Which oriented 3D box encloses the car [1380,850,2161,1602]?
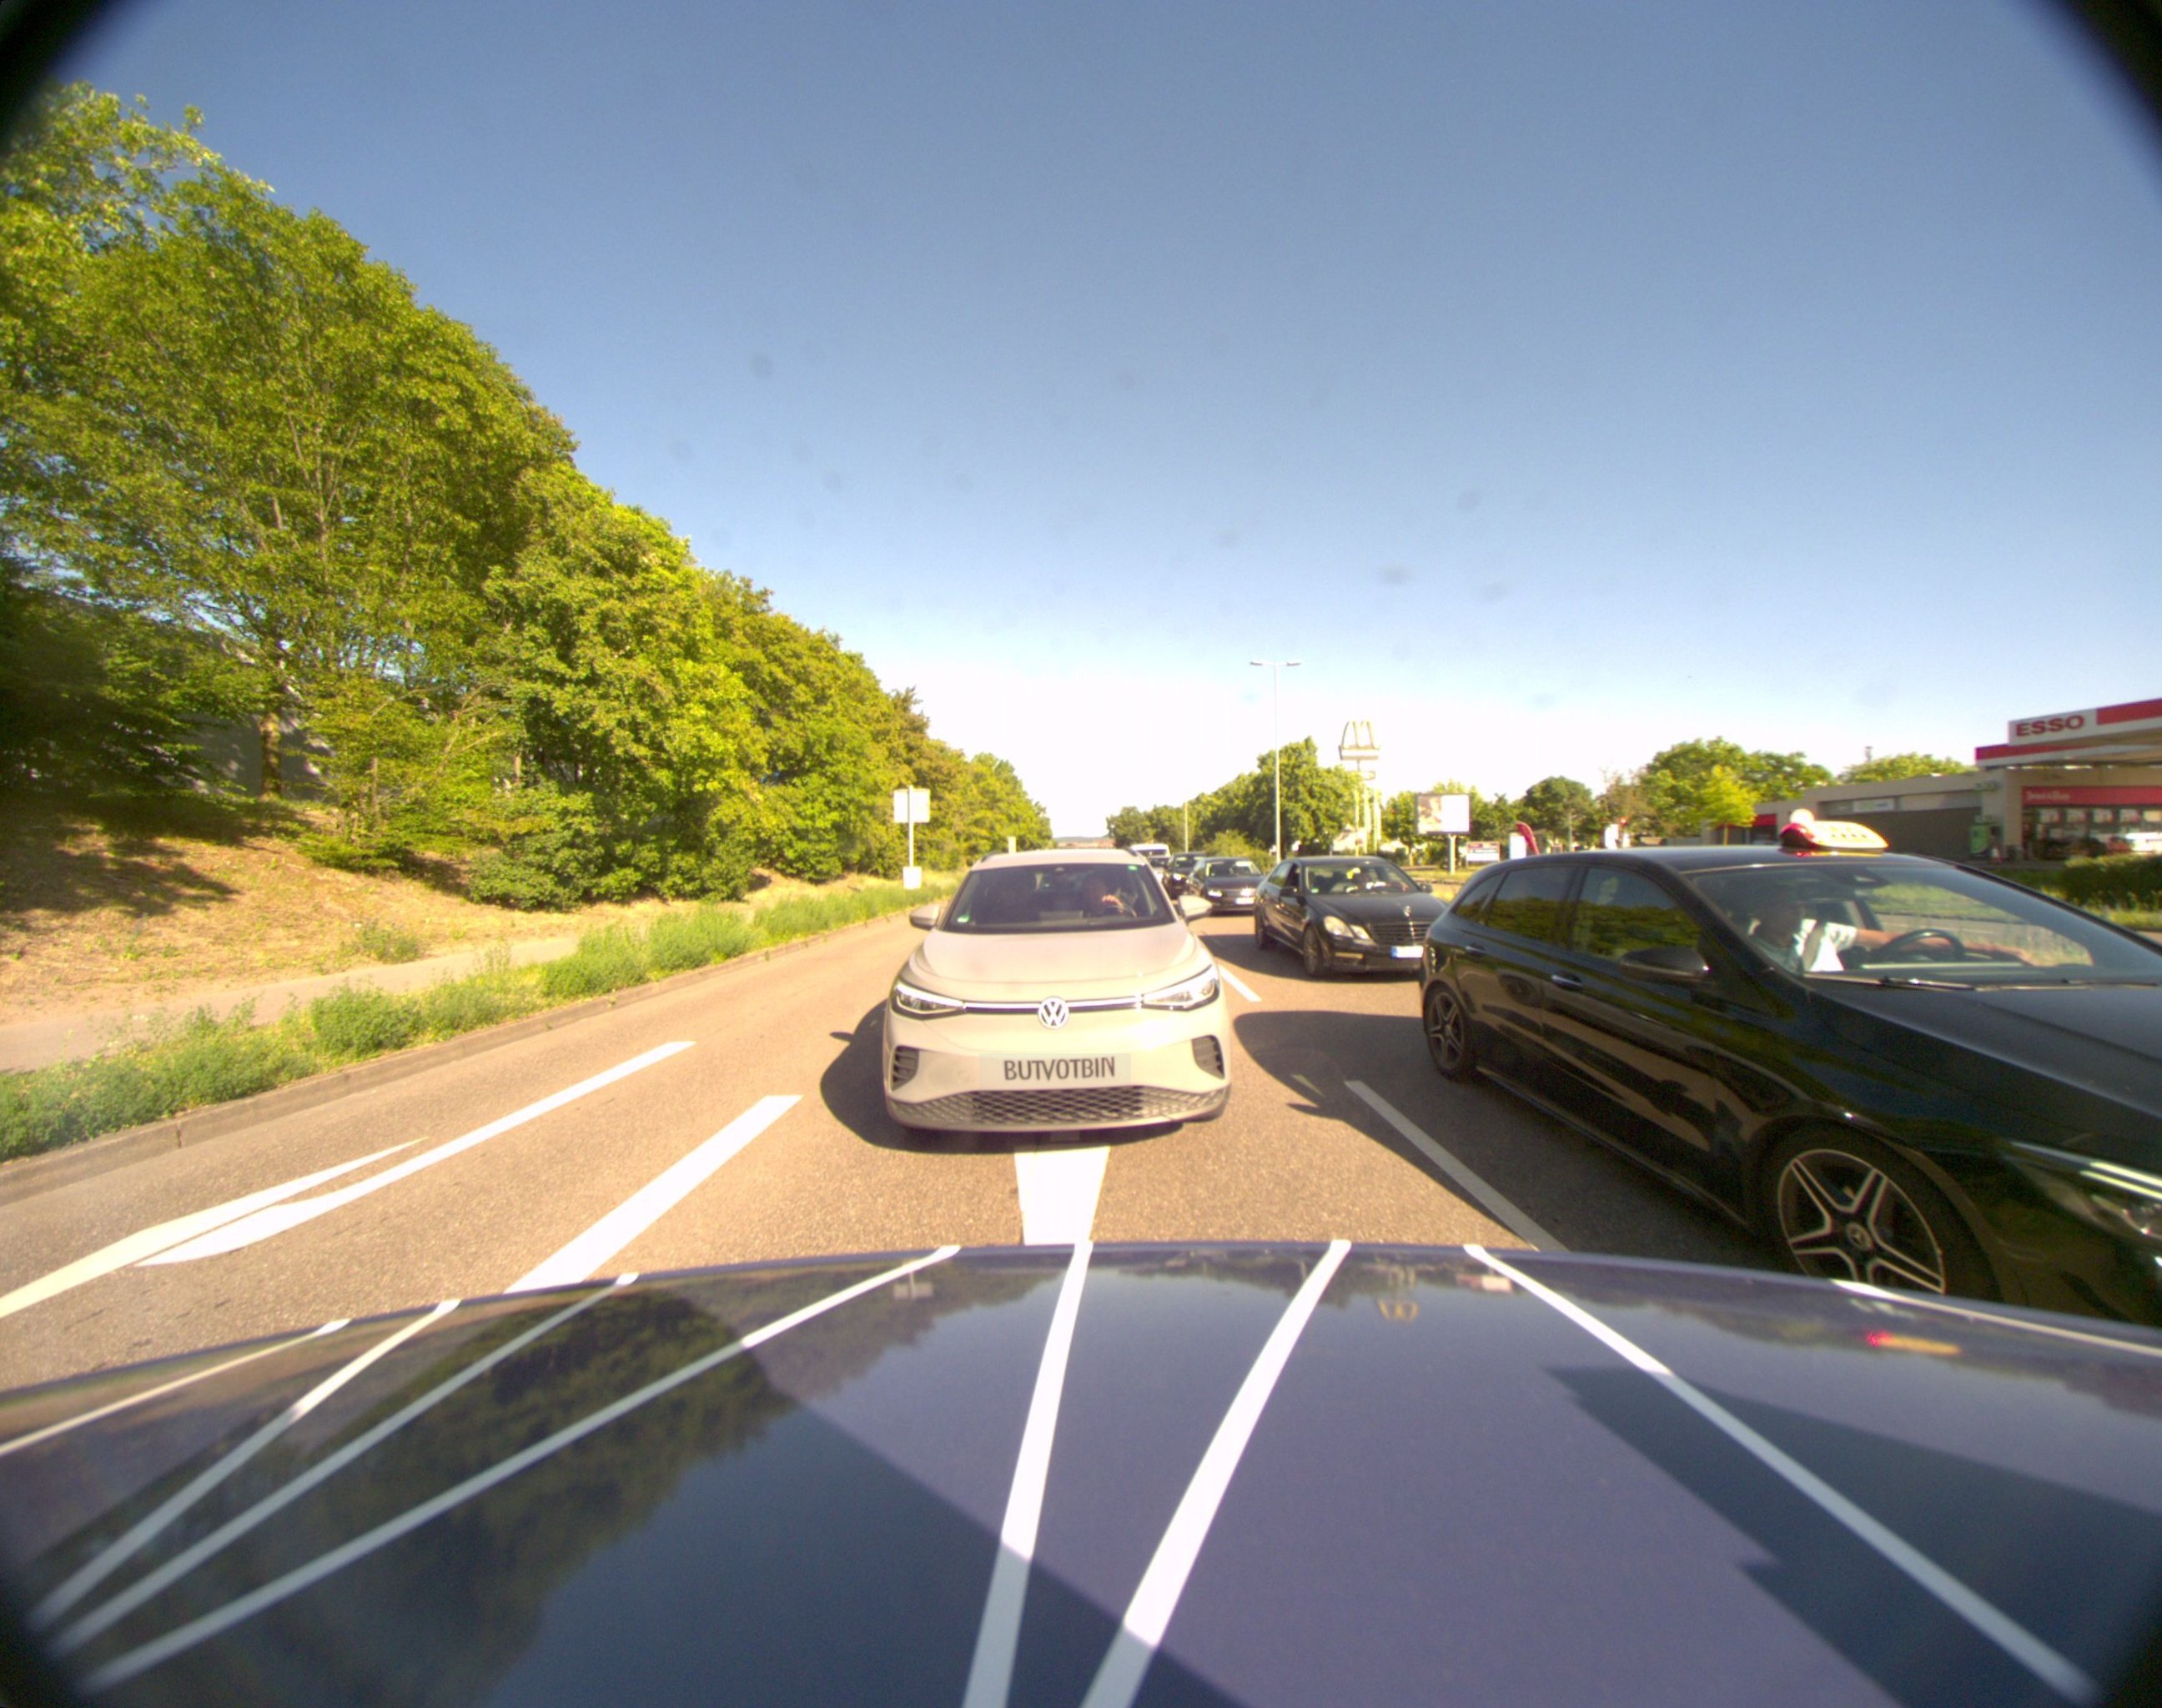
[{"bbox_3d":[3.103,0.768,3.379,1.763,1.482,4.402,-2,1,0],"label":"car"}]

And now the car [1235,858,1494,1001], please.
[{"bbox_3d":[3.542,0.833,10.478,1.868,1.430,4.402,-2,1,0],"label":"car"}]

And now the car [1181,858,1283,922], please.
[{"bbox_3d":[3.870,0.856,20.192,1.797,1.419,4.287,-2,0,0],"label":"car"}]

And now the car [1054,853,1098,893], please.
[{"bbox_3d":[-0.211,0.769,33.107,1.763,1.482,4.402,-2,1,0],"label":"car"}]

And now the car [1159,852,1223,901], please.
[{"bbox_3d":[3.904,0.752,27.505,1.674,1.607,3.879,-2,0,0],"label":"car"}]

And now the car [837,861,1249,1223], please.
[{"bbox_3d":[-0.182,0.896,5.746,1.862,1.573,4.403,-2,0,0],"label":"car"}]

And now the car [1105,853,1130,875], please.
[{"bbox_3d":[2.930,0.810,62.123,1.763,1.607,4.402,-2,1,0],"label":"car"}]

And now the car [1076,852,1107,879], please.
[{"bbox_3d":[0.603,0.685,47.030,1.763,1.482,4.402,-2,1,0],"label":"car"}]

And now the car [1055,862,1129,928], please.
[{"bbox_3d":[0.264,1.034,20.935,1.763,1.482,4.402,-2,1,0],"label":"car"}]

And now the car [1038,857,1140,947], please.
[{"bbox_3d":[0.135,0.868,15.767,1.763,1.482,4.402,-2,1,0],"label":"car"}]

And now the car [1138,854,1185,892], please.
[{"bbox_3d":[3.580,0.786,34.173,1.635,1.547,3.777,-2,0,0],"label":"car"}]

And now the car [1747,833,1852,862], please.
[{"bbox_3d":[37.413,-0.330,39.729,1.682,1.401,3.978,1,1,0],"label":"car"}]

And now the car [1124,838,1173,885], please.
[{"bbox_3d":[3.652,0.380,42.065,2.019,2.349,6.523,-2,0,0],"label":"car"}]

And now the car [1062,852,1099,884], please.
[{"bbox_3d":[-0.044,0.707,39.863,1.763,1.482,4.402,-2,1,0],"label":"car"}]
